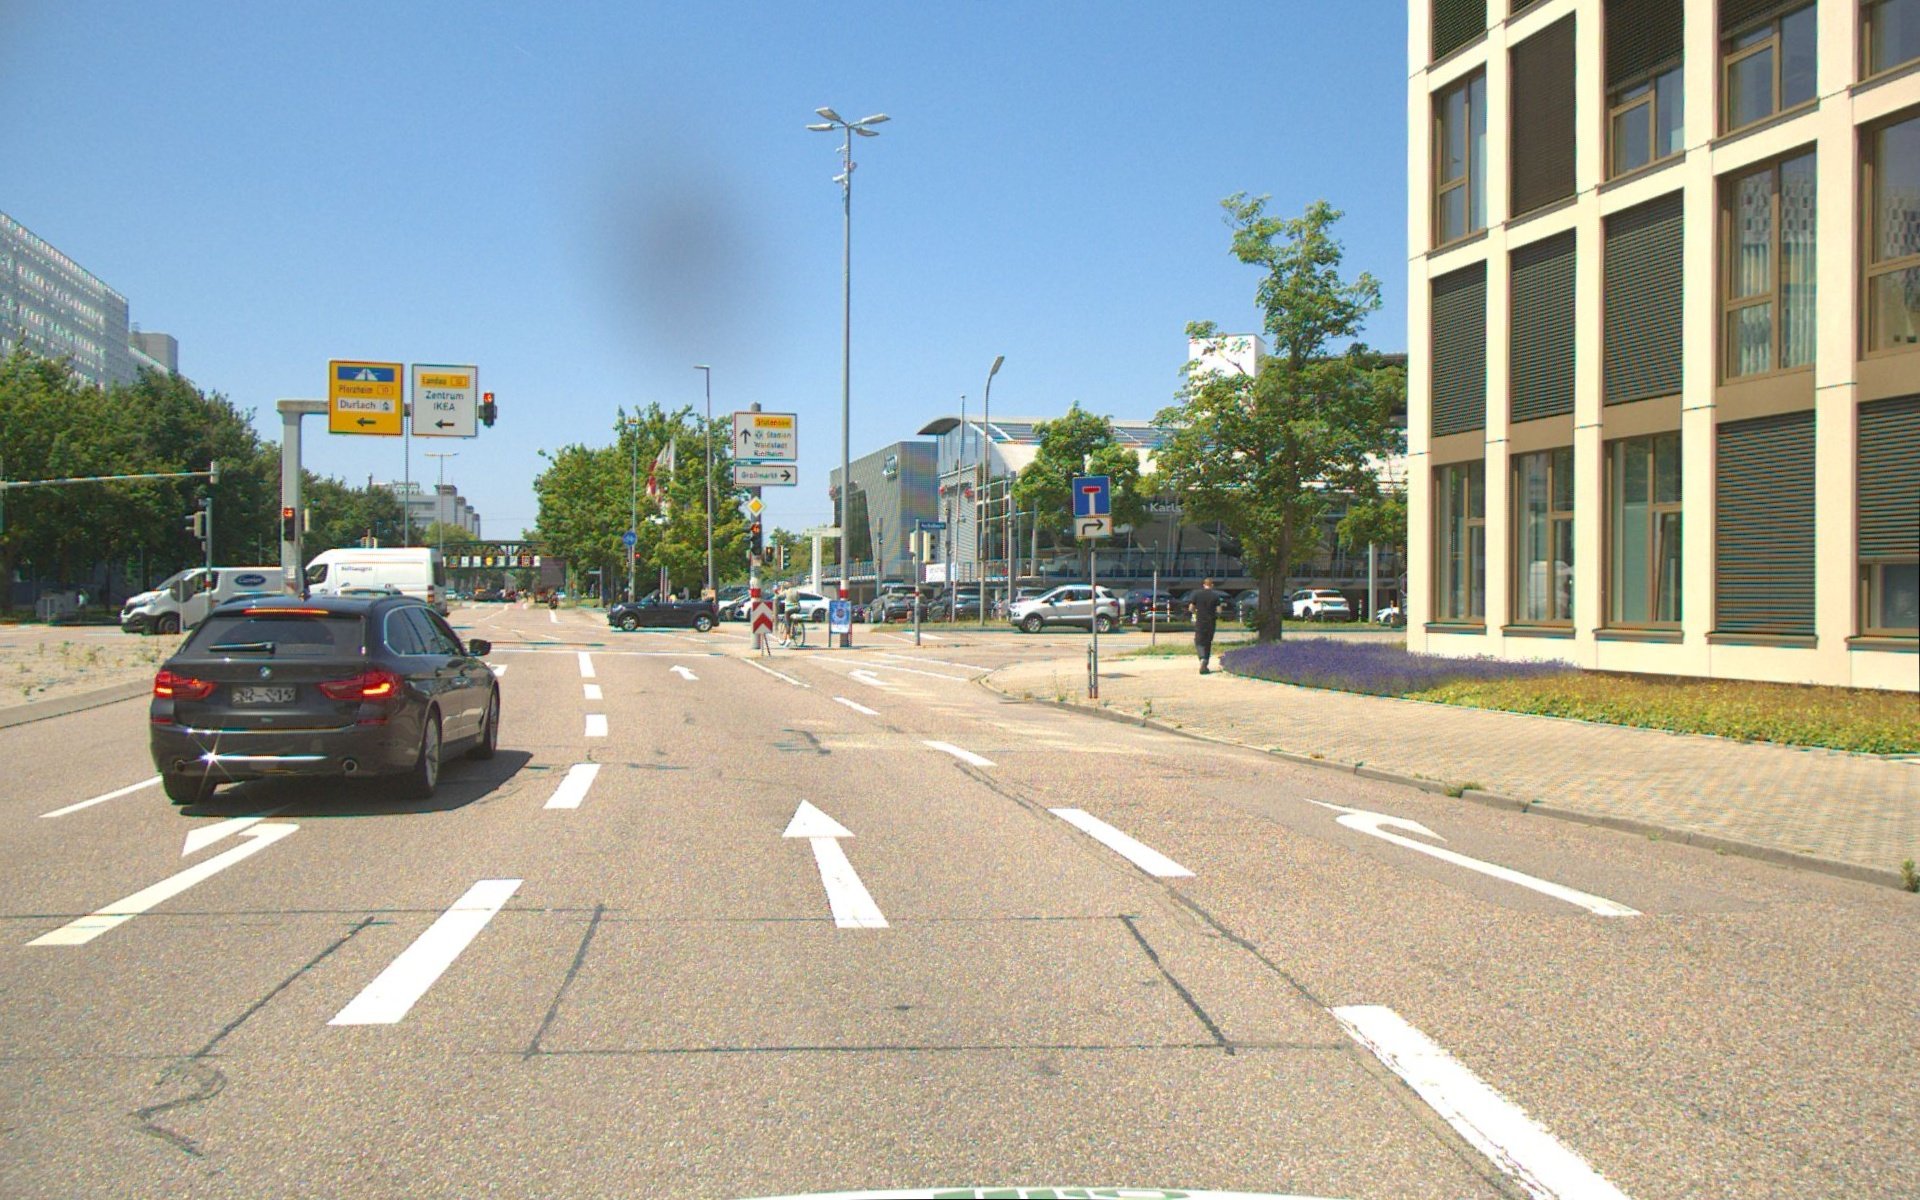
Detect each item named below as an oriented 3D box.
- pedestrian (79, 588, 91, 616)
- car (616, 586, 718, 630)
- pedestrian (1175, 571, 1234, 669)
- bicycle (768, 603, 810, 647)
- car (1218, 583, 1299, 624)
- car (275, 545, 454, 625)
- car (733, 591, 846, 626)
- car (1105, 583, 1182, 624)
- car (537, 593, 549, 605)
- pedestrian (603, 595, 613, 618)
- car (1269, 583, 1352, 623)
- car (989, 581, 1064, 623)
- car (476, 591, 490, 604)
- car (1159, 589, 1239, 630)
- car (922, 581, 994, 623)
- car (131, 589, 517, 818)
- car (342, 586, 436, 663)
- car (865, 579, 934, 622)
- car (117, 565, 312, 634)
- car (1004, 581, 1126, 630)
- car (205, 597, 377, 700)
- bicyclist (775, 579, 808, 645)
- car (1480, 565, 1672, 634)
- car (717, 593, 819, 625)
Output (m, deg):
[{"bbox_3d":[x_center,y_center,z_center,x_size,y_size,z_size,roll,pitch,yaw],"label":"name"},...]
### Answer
[{"bbox_3d":[-47.064,0.129,88.949,0.454,1.508,0.482,0,0,-11],"label":"pedestrian"},{"bbox_3d":[-9.871,0.263,55.857,3.305,1.381,1.621,1,1,-9],"label":"car"},{"bbox_3d":[4.814,0.387,32.580,0.861,1.877,0.761,-2,0,-42],"label":"pedestrian"},{"bbox_3d":[-4.732,0.668,45.675,0.774,1.147,1.911,1,1,-18],"label":"bicycle"},{"bbox_3d":[12.909,0.122,71.814,1.797,1.668,4.457,0,1,-15],"label":"car"},{"bbox_3d":[-20.319,-0.503,56.606,5.382,2.611,1.998,1,0,-4],"label":"car"},{"bbox_3d":[-7.345,0.355,71.034,4.659,1.482,1.994,0,1,-13],"label":"car"},{"bbox_3d":[7.799,0.126,70.701,1.797,1.668,4.457,0,1,-15],"label":"car"},{"bbox_3d":[-62.905,-0.101,249.248,1.742,1.758,3.984,0,0,-15],"label":"car"},{"bbox_3d":[-23.971,0.436,112.637,0.657,1.537,0.733,0,0,-15],"label":"pedestrian"},{"bbox_3d":[15.383,0.108,72.769,1.797,1.668,4.457,0,1,-15],"label":"car"},{"bbox_3d":[2.737,0.048,69.410,1.960,1.668,4.424,0,1,-15],"label":"car"},{"bbox_3d":[-65.714,-0.390,227.784,1.742,1.758,3.984,0,0,-15],"label":"car"},{"bbox_3d":[10.287,0.377,71.388,1.797,1.668,4.456,0,1,-15],"label":"car"},{"bbox_3d":[-0.128,0.049,68.541,1.960,1.668,4.540,0,1,-15],"label":"car"},{"bbox_3d":[-4.832,0.678,13.299,1.765,1.491,4.617,1,1,-7],"label":"car"},{"bbox_3d":[-12.139,0.488,35.101,1.771,1.520,3.976,1,0,-20],"label":"car"},{"bbox_3d":[-2.531,-0.011,67.735,1.960,1.668,4.252,0,1,-15],"label":"car"},{"bbox_3d":[-21.252,-0.004,47.268,4.794,1.883,1.810,1,0,-40],"label":"car"},{"bbox_3d":[3.678,0.181,58.467,4.113,1.680,1.713,-1,0,-4],"label":"car"},{"bbox_3d":[-10.207,0.672,25.534,1.718,1.414,4.519,0,0,-12],"label":"car"},{"bbox_3d":[-4.642,0.316,45.431,0.722,1.779,0.750,1,0,-19],"label":"bicyclist"},{"bbox_3d":[17.217,-0.002,46.321,4.804,1.847,1.700,0,0,33],"label":"car"},{"bbox_3d":[-9.312,0.424,80.073,4.665,1.482,1.991,0,1,-17],"label":"car"}]
